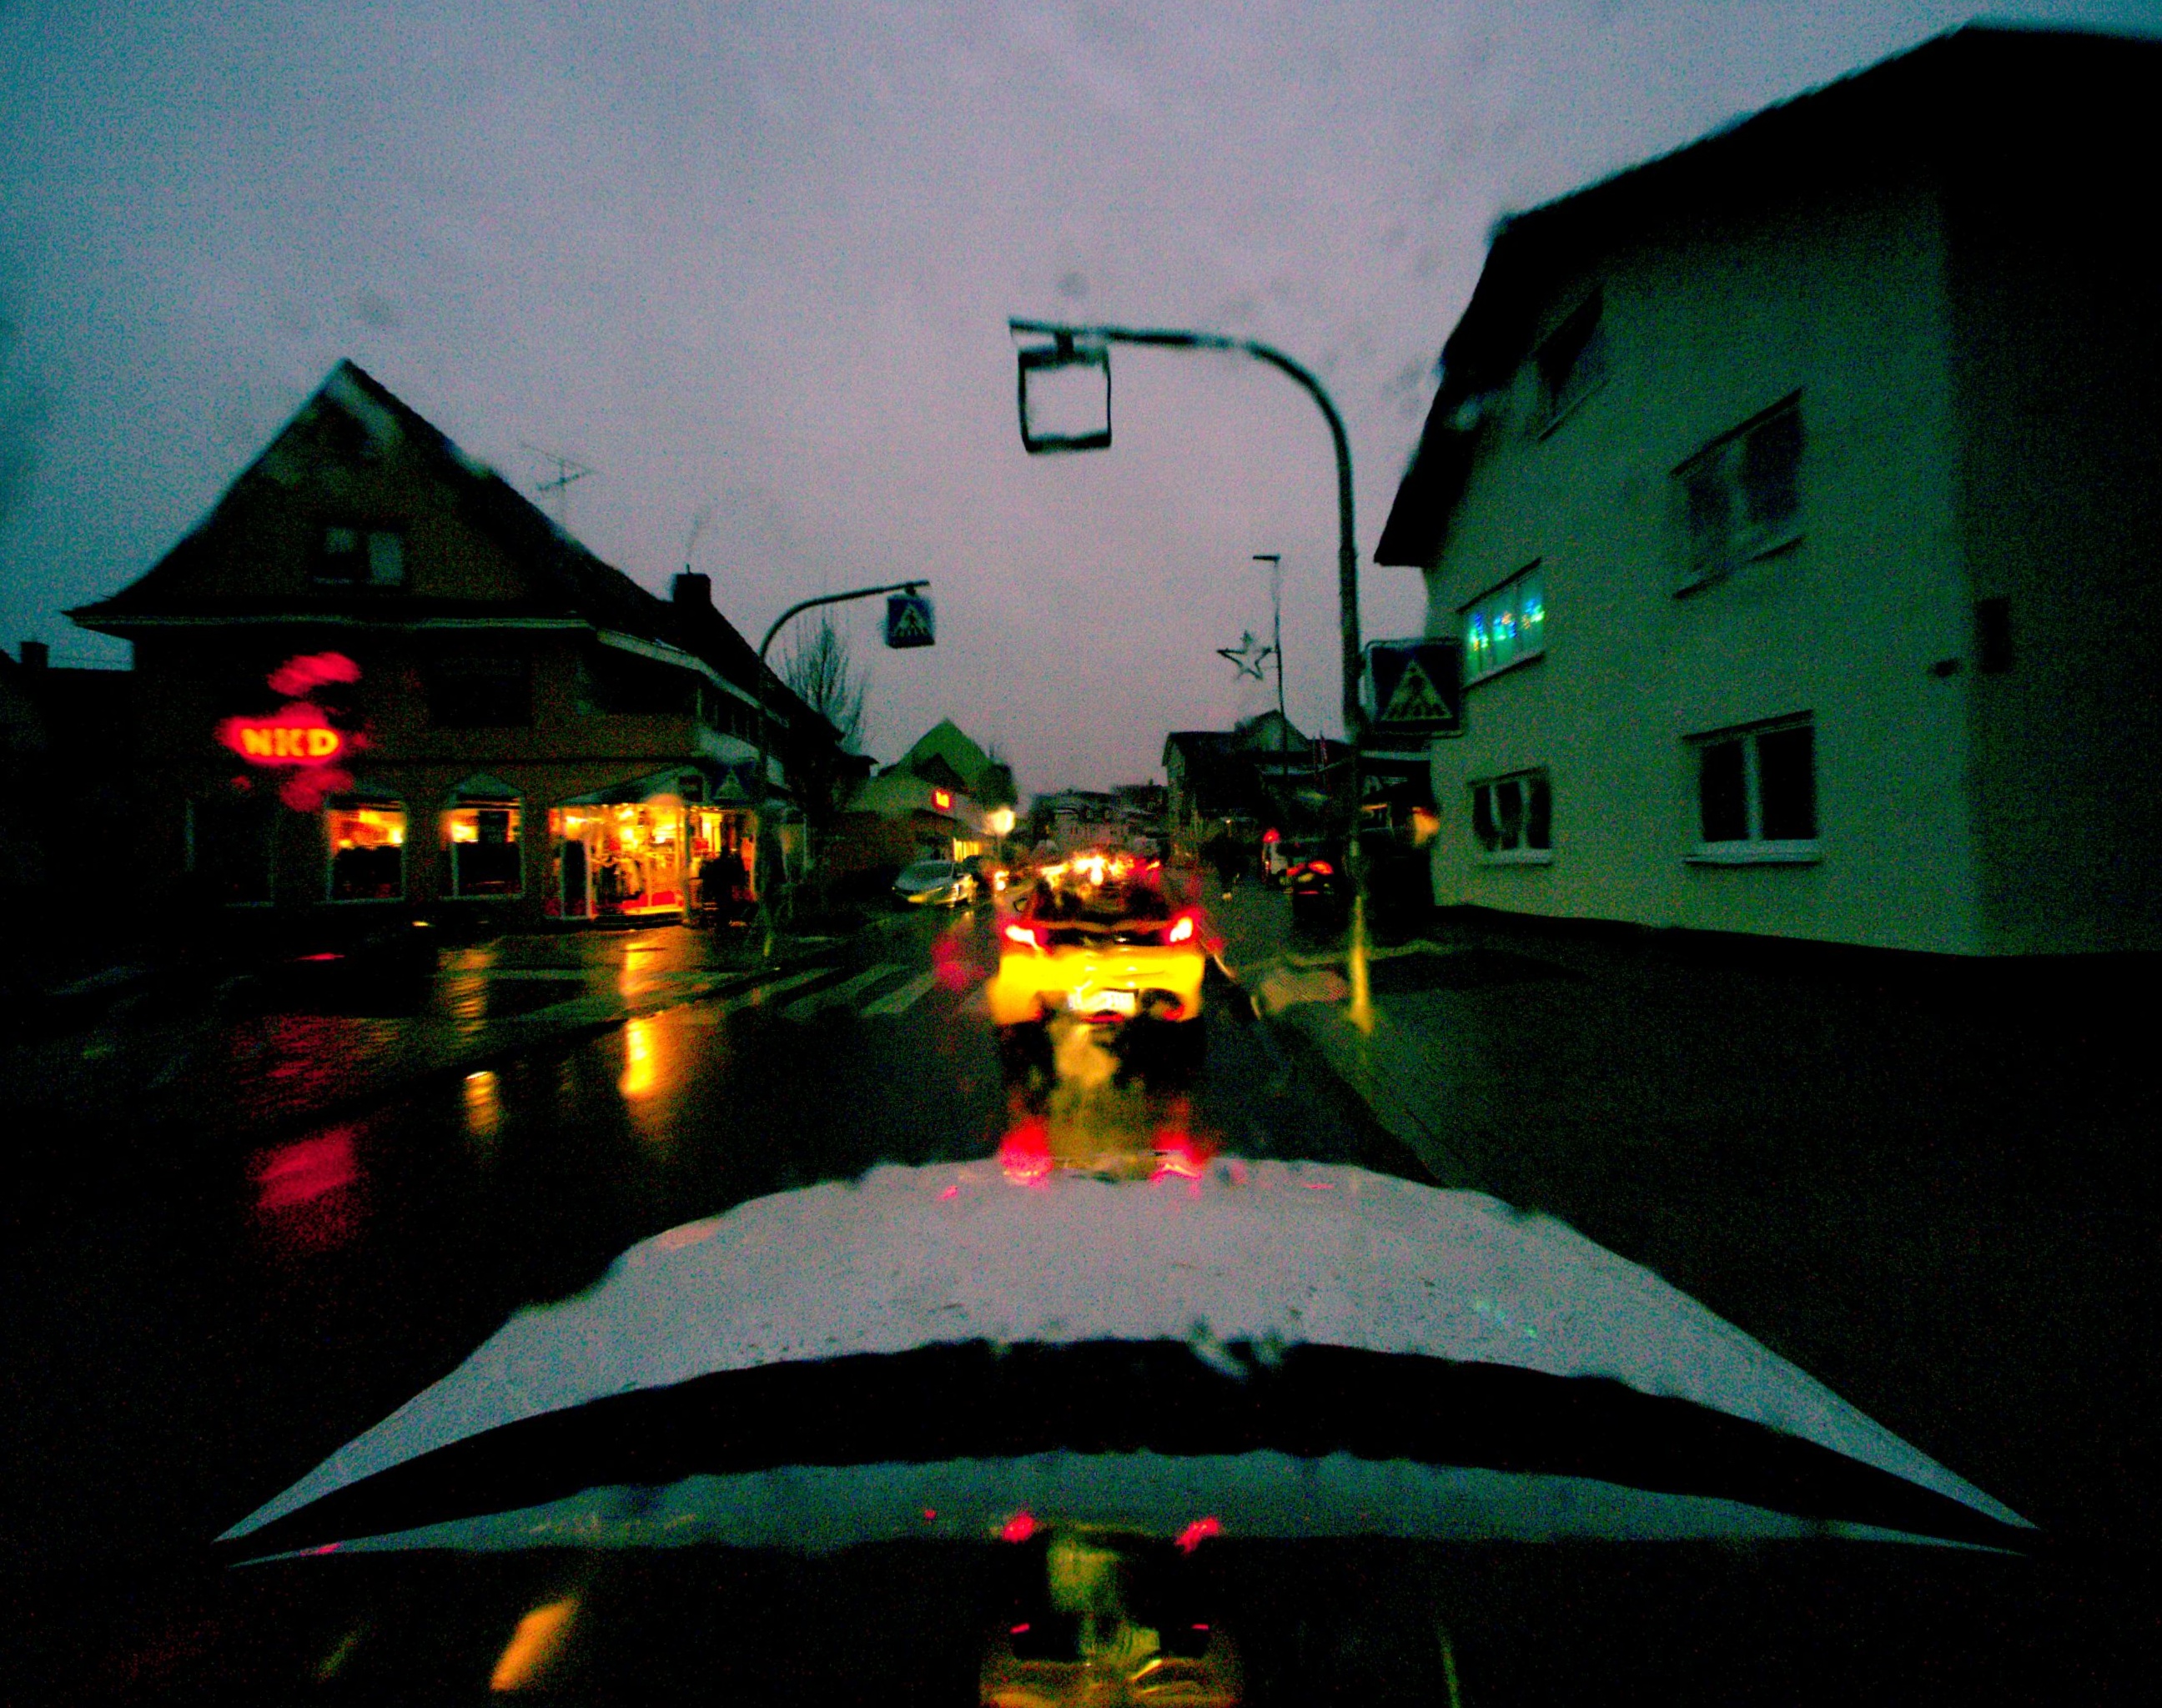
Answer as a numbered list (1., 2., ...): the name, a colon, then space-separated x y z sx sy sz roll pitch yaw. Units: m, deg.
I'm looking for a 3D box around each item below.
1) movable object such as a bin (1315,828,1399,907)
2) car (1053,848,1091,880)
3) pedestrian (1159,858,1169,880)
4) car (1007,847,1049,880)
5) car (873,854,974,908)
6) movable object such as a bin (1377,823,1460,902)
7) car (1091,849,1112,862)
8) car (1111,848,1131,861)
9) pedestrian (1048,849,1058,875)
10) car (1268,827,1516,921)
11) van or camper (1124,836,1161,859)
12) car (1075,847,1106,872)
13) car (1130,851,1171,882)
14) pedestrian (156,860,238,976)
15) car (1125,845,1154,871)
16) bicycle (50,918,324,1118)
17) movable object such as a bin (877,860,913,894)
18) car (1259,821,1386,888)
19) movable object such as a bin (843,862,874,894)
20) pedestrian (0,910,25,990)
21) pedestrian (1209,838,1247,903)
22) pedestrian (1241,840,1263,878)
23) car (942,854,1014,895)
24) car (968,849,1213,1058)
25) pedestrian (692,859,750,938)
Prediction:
1. movable object such as a bin: 6.158 0.287 18.271 1.388 1.644 1.261 -3 0 0
2. car: -0.470 0.532 47.915 1.986 1.705 4.969 1 1 1
3. pedestrian: 6.649 1.207 65.335 0.743 1.729 0.873 -1 1 0
4. car: -2.949 0.496 46.233 2.080 1.792 5.021 -1 0 -1
5. car: -4.825 0.783 25.678 1.985 1.558 4.625 0 0 4
6. movable object such as a bin: 7.511 0.183 18.186 1.281 1.644 1.185 -4 0 0
7. car: 2.907 0.167 117.770 1.996 1.765 4.330 -3 1 -13
8. car: 5.772 0.074 118.016 1.995 1.610 4.158 -3 -1 -11
9. pedestrian: -1.724 0.494 49.838 0.572 1.585 0.530 -1 1 0
10. car: 5.830 0.345 15.481 3.989 1.625 1.991 0 0 -12
11. van or camper: 8.887 -0.957 118.672 2.660 3.047 6.690 -5 1 -19
12. car: 0.718 0.372 62.178 1.948 1.546 4.411 4 2 -4
13. car: 3.720 0.667 44.078 1.986 1.588 4.001 0 0 2
14. pedestrian: -15.965 1.115 14.715 0.816 2.014 0.740 0 0 22
15. car: 4.345 0.299 60.658 1.986 1.857 4.001 0 0 1
16. bicycle: -6.404 1.095 5.971 0.324 1.061 1.737 -6 2 -13
17. movable object such as a bin: -8.026 0.998 35.166 1.339 1.354 0.887 -4 -1 -7
18. car: 8.419 0.027 28.763 4.064 2.049 2.006 -3 0 11
19. movable object such as a bin: -9.560 1.028 35.026 1.149 1.354 0.849 -1 0 -8
20. pedestrian: -17.681 1.558 13.128 0.815 1.245 0.691 0 0 30
21. pedestrian: 4.372 0.476 24.312 0.963 1.889 1.006 0 0 0
22. pedestrian: 7.813 0.230 37.233 0.838 1.705 0.841 -3 -1 8
23. car: -4.074 0.770 33.073 1.985 1.522 4.982 -1 0 3
24. car: 0.191 0.739 8.027 1.806 1.533 4.004 0 0 3
25. pedestrian: -7.857 0.944 17.840 0.825 1.658 1.096 0 0 -4
